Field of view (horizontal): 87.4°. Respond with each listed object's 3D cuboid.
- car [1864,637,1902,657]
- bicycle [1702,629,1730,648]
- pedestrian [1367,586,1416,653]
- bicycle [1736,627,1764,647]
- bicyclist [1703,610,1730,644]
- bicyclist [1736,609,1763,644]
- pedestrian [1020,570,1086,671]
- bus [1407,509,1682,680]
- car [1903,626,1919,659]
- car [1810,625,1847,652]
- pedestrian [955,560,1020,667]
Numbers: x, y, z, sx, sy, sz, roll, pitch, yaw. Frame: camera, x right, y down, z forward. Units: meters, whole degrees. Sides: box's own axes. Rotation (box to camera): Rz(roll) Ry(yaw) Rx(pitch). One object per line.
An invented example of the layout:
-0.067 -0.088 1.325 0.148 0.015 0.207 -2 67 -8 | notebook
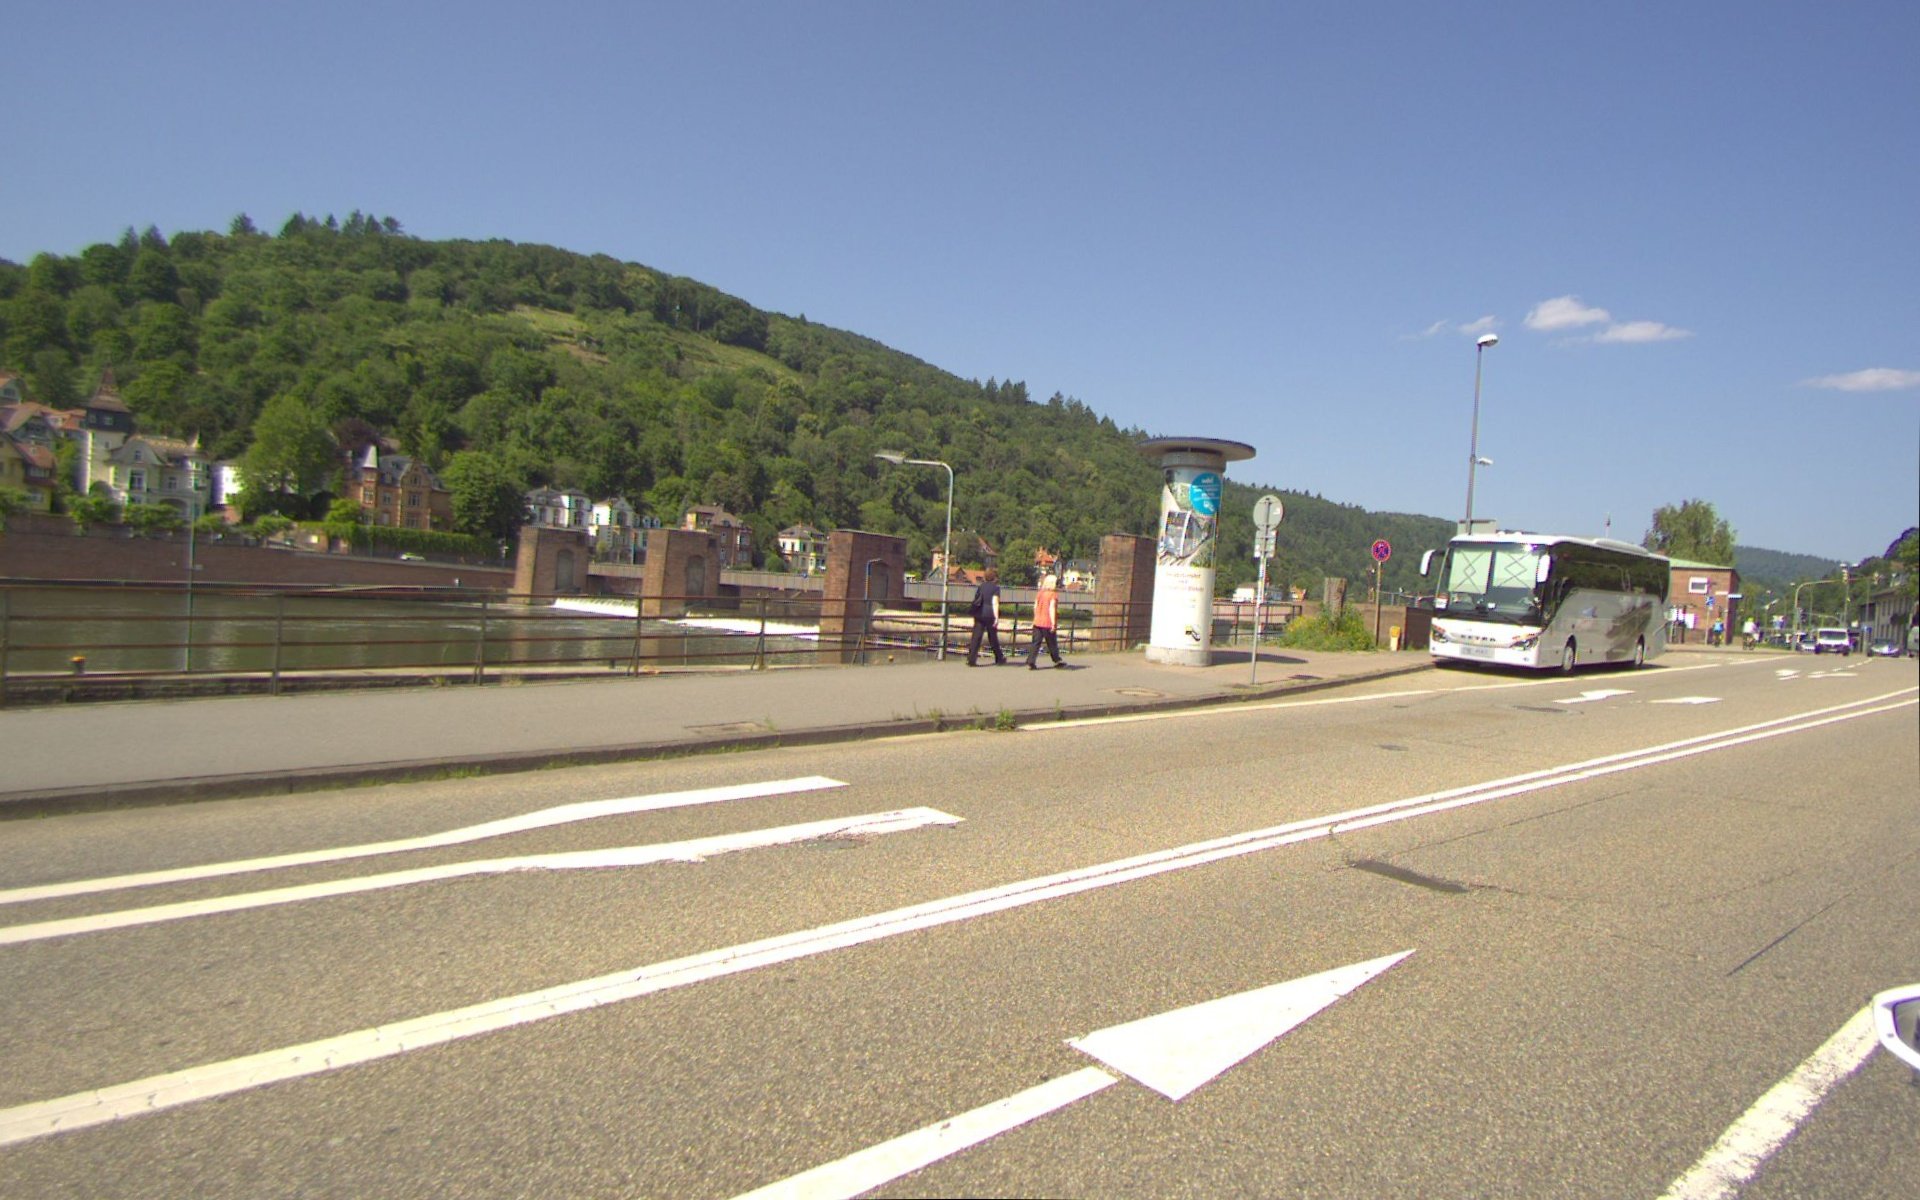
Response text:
75.139 3.785 81.802 1.970 1.451 4.148 2 0 40 | car
46.308 2.346 61.515 1.198 1.105 2.585 2 0 41 | bicycle
12.238 0.557 28.488 1.034 1.820 0.883 2 1 -44 | pedestrian
48.203 2.240 61.276 1.198 1.105 2.585 2 0 41 | bicycle
46.438 1.667 61.633 1.198 2.040 1.113 2 0 42 | bicyclist
48.229 1.599 61.338 1.198 2.040 1.113 2 1 42 | bicyclist
1.571 0.344 17.006 0.694 1.643 0.812 3 1 42 | pedestrian
17.111 -0.080 28.605 13.152 3.851 2.928 1 4 -44 | bus
78.918 3.448 81.876 2.354 2.611 6.030 2 0 38 | car
72.311 3.171 83.613 2.189 2.106 5.017 2 0 42 | car
0.458 0.226 16.822 0.768 1.732 0.676 2 1 -44 | pedestrian
